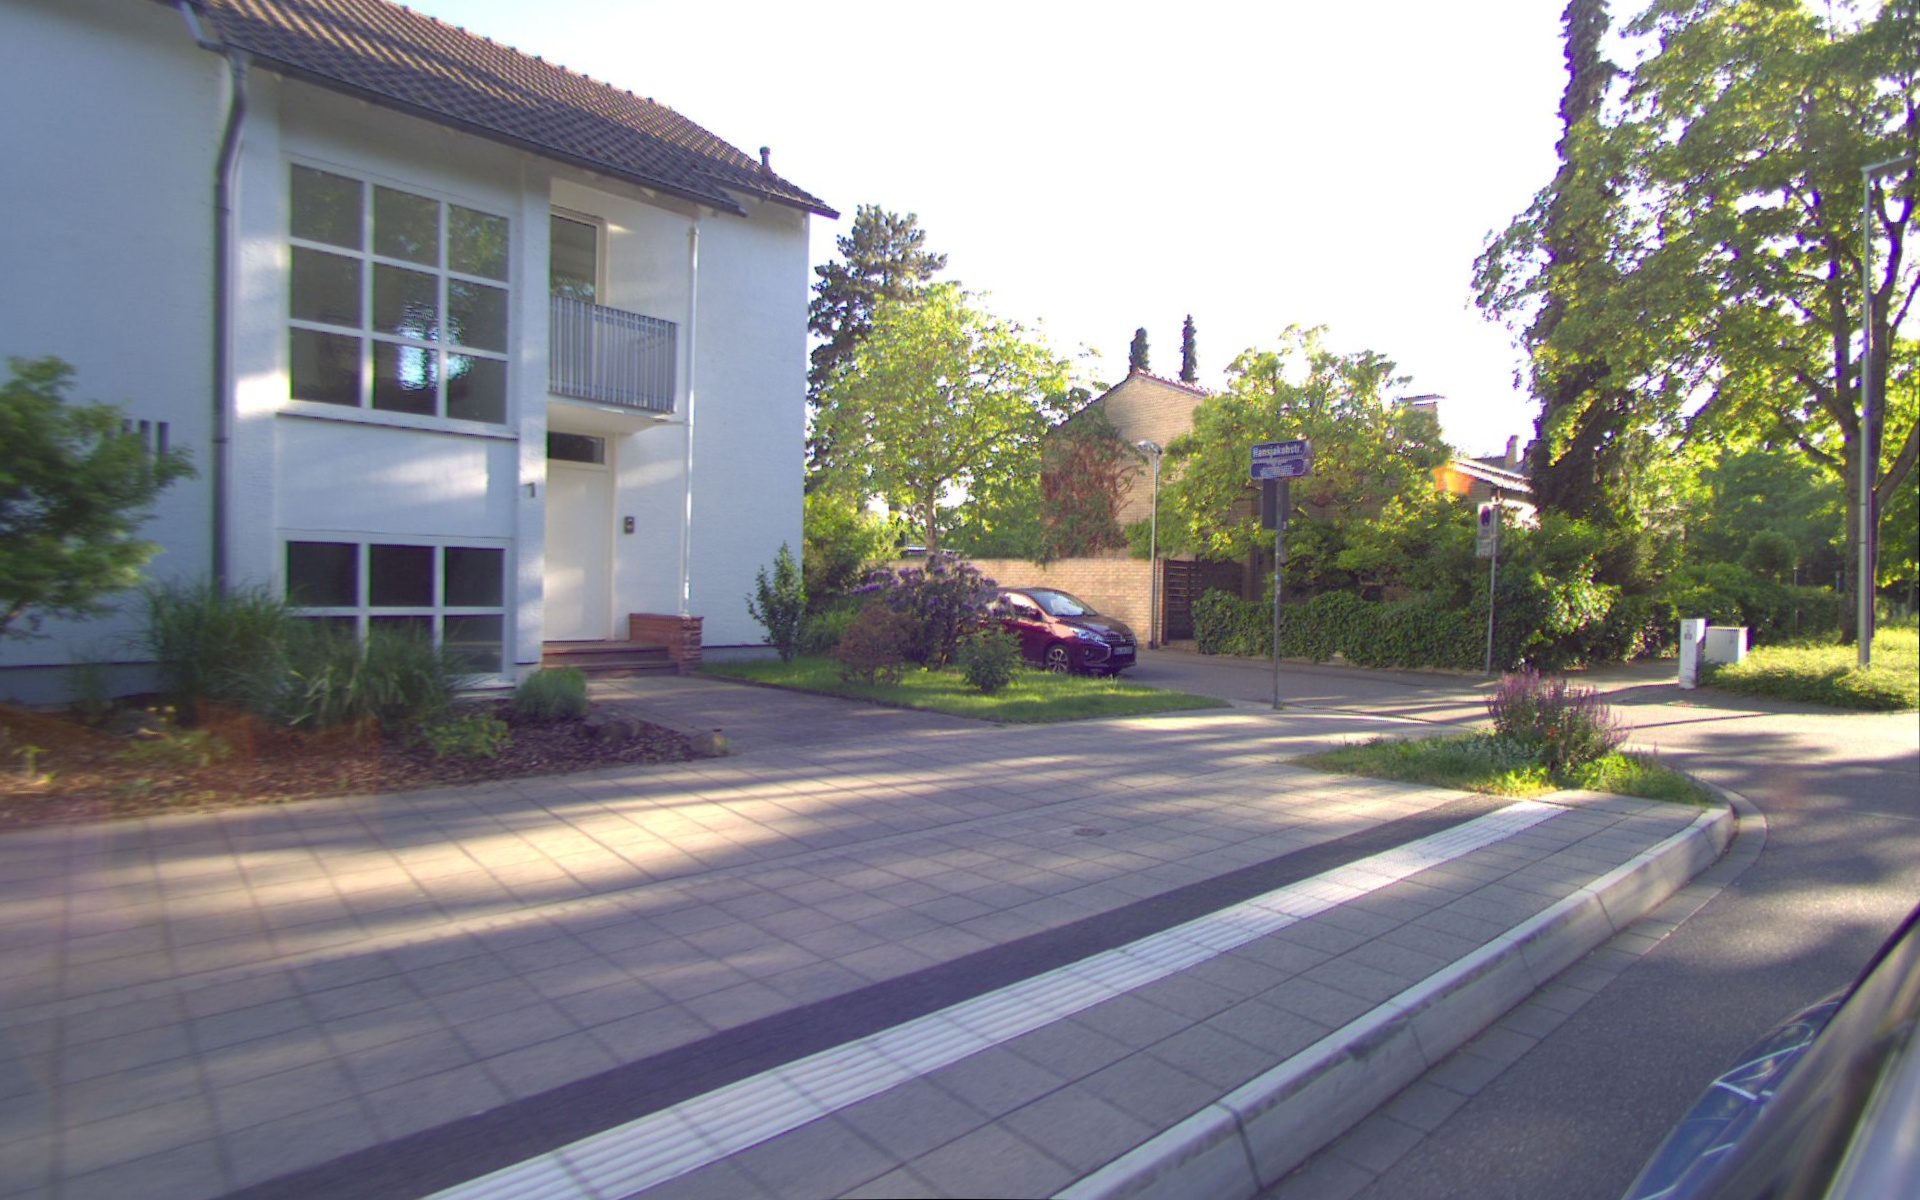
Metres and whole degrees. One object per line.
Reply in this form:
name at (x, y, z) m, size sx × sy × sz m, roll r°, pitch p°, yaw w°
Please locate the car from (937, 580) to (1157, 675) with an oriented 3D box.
car at (1.482, 0.412, 18.121) m, size 3.731 × 1.520 × 1.664 m, roll 1°, pitch 0°, yaw 44°
